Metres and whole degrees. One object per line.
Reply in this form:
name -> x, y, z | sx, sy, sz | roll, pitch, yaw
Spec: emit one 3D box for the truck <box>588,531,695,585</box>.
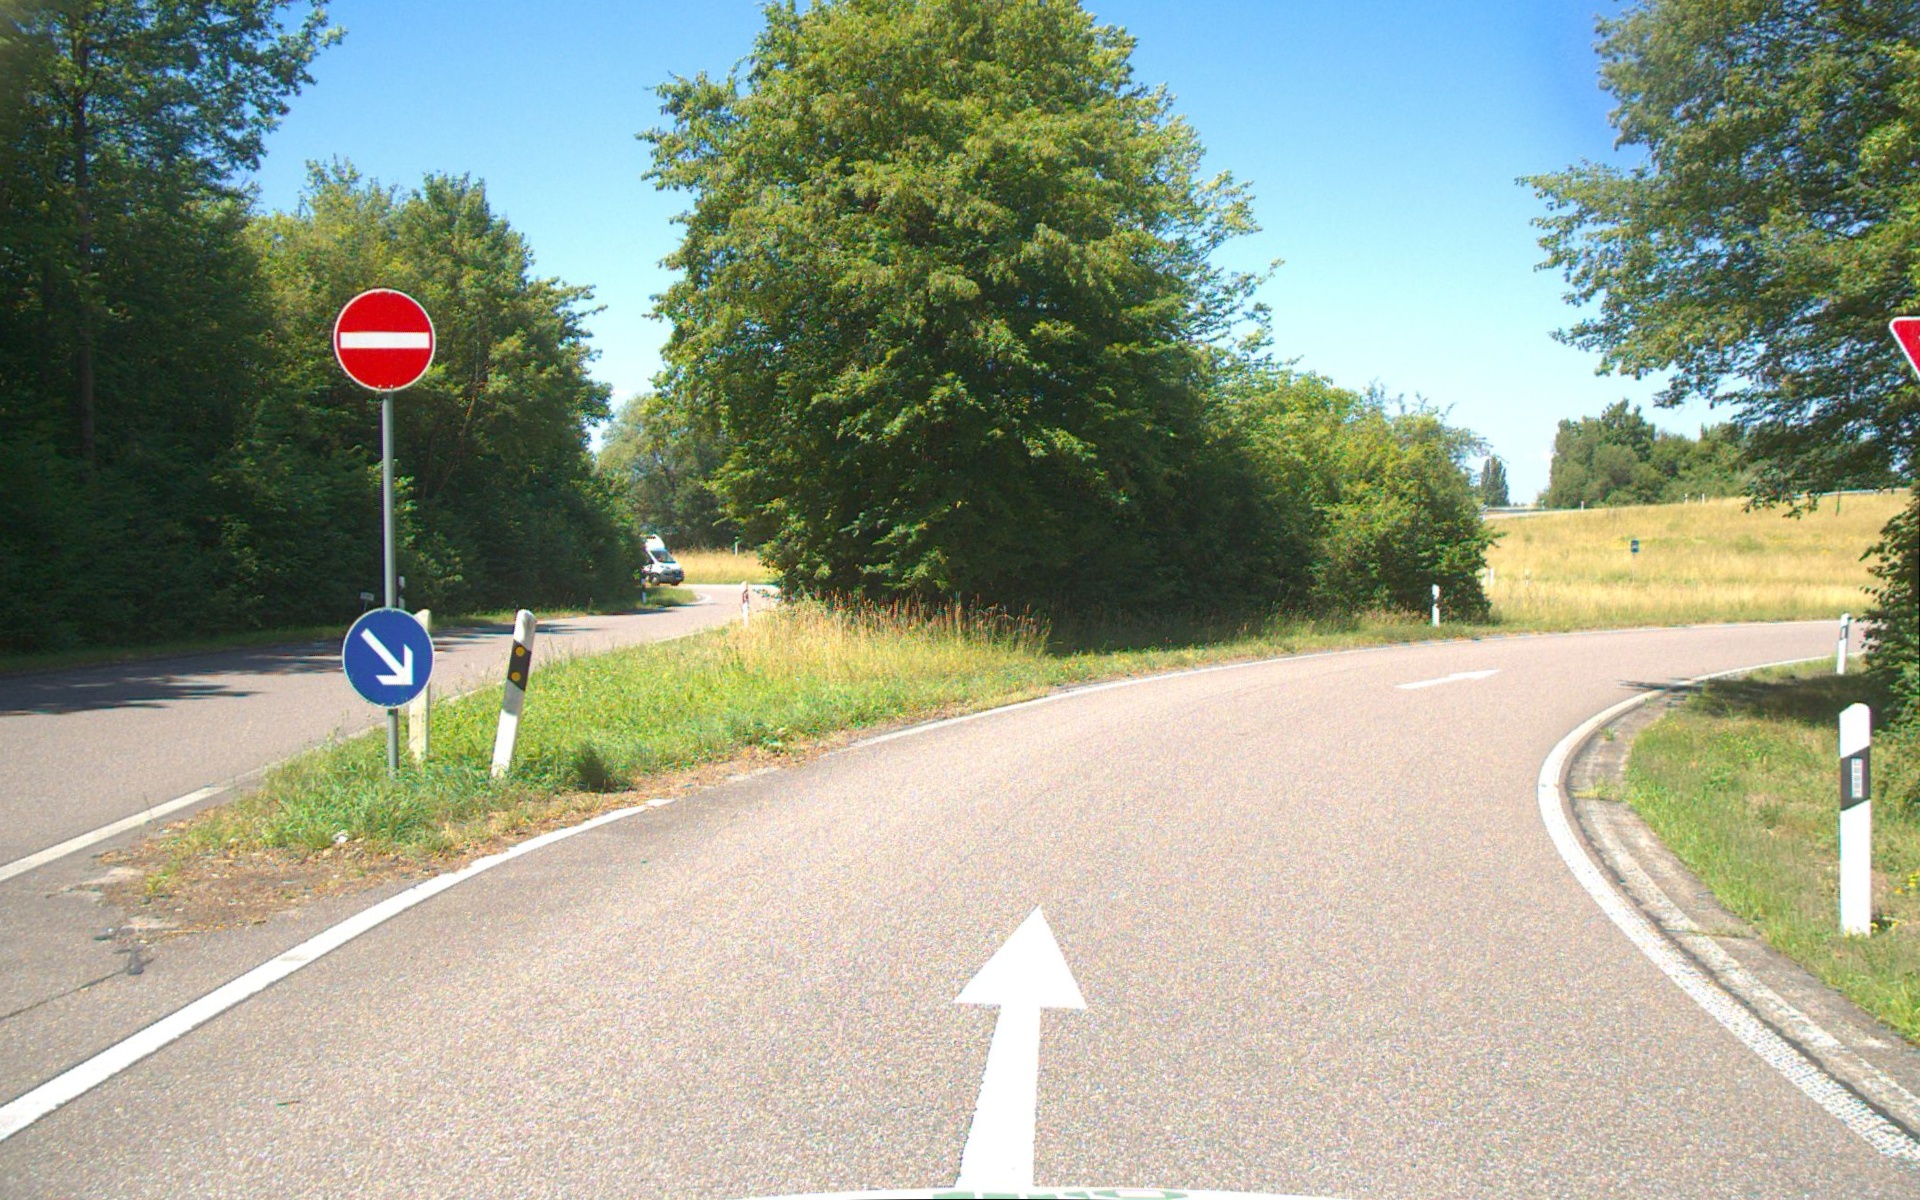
truck -> -18.326, -2.437, 95.123 | 5.756, 3.036, 2.248 | 1, 2, 23
